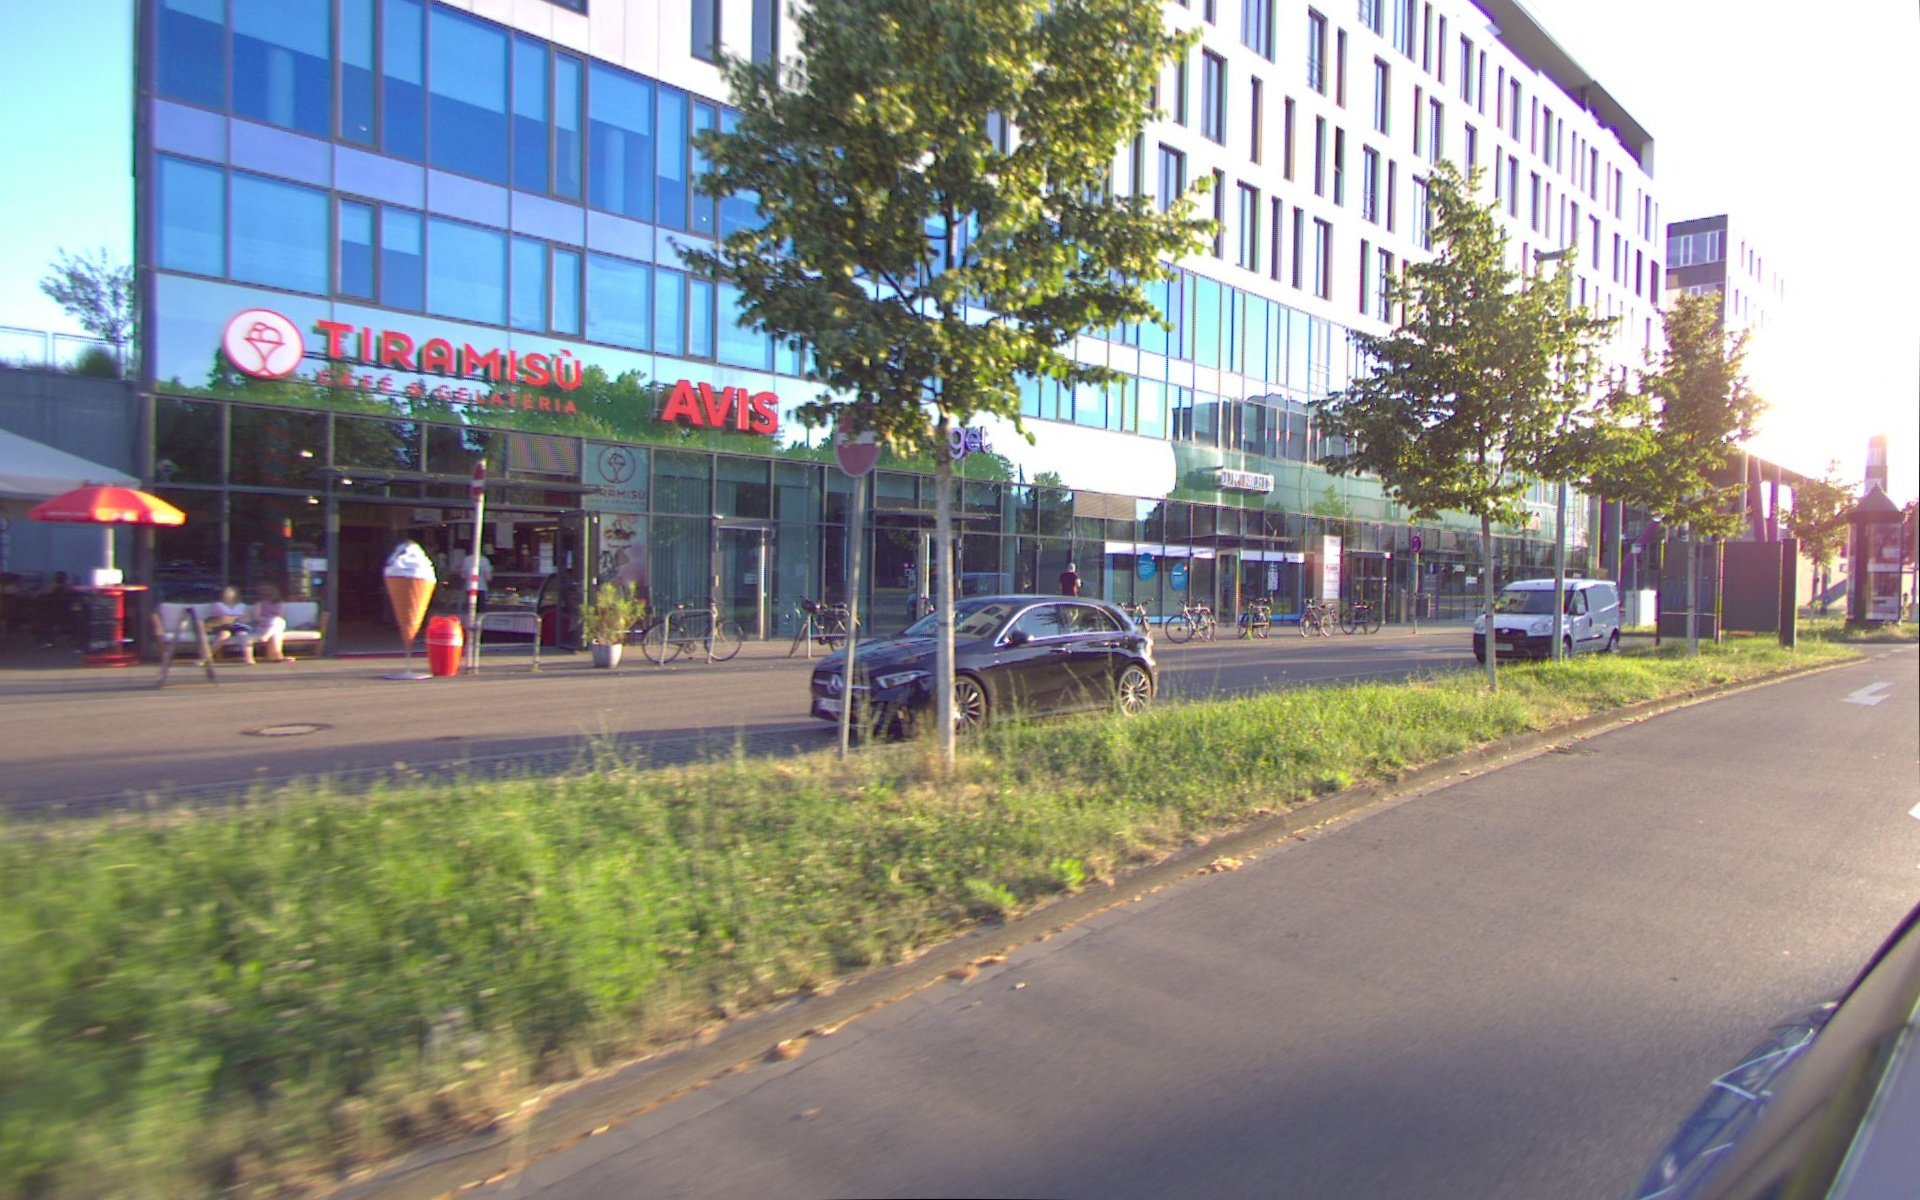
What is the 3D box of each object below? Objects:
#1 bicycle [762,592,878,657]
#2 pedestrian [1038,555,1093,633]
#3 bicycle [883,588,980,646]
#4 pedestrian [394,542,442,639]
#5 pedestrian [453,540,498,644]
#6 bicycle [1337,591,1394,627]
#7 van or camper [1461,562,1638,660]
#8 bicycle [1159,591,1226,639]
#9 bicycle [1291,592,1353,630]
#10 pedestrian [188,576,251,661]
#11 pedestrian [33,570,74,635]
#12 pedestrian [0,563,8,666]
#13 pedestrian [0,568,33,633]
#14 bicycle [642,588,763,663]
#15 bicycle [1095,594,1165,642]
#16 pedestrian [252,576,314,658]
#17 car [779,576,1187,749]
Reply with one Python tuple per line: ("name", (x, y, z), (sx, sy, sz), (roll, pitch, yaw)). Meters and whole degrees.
("bicycle", (-2.513, 0.422, 18.347), (2.039, 1.076, 0.684), (0, 3, -44))
("pedestrian", (2.665, -0.161, 25.589), (0.931, 1.906, 1.028), (0, 1, -41))
("bicycle", (-0.532, 0.316, 19.818), (0.596, 1.053, 2.041), (4, 3, 43))
("pedestrian", (-10.260, -0.184, 19.154), (0.672, 1.781, 0.662), (0, 3, -39))
("pedestrian", (-8.549, -0.145, 17.875), (0.670, 1.781, 0.664), (1, 3, -23))
("bicycle", (12.485, 0.293, 31.154), (1.838, 1.053, 0.532), (1, 2, -29))
("van or camper", (13.208, 0.217, 22.558), (4.744, 1.944, 1.962), (0, 0, -40))
("bicycle", (5.814, 0.354, 25.227), (2.110, 1.122, 0.388), (0, 4, -41))
("bicycle", (10.441, 0.316, 29.199), (1.878, 1.053, 0.532), (1, 2, -29))
("pedestrian", (-10.711, 0.243, 14.632), (0.672, 1.139, 0.975), (0, 3, -40))
("pedestrian", (-17.301, 0.040, 19.323), (0.525, 1.230, 0.476), (0, 1, -34))
("pedestrian", (-12.708, 0.174, 12.980), (0.681, 1.306, 0.621), (4, 3, 37))
("pedestrian", (-18.063, 0.003, 19.273), (0.525, 1.230, 0.476), (0, 1, -34))
("bicycle", (-4.246, 0.392, 16.776), (1.843, 1.147, 0.640), (0, 3, -45))
("bicycle", (3.979, 0.395, 23.570), (0.529, 1.053, 2.041), (4, 3, 43))
("pedestrian", (-10.139, 0.236, 15.151), (0.672, 1.139, 0.975), (0, 3, -40))
("car", (0.406, 0.525, 11.066), (4.401, 1.519, 1.812), (0, 1, -41))
